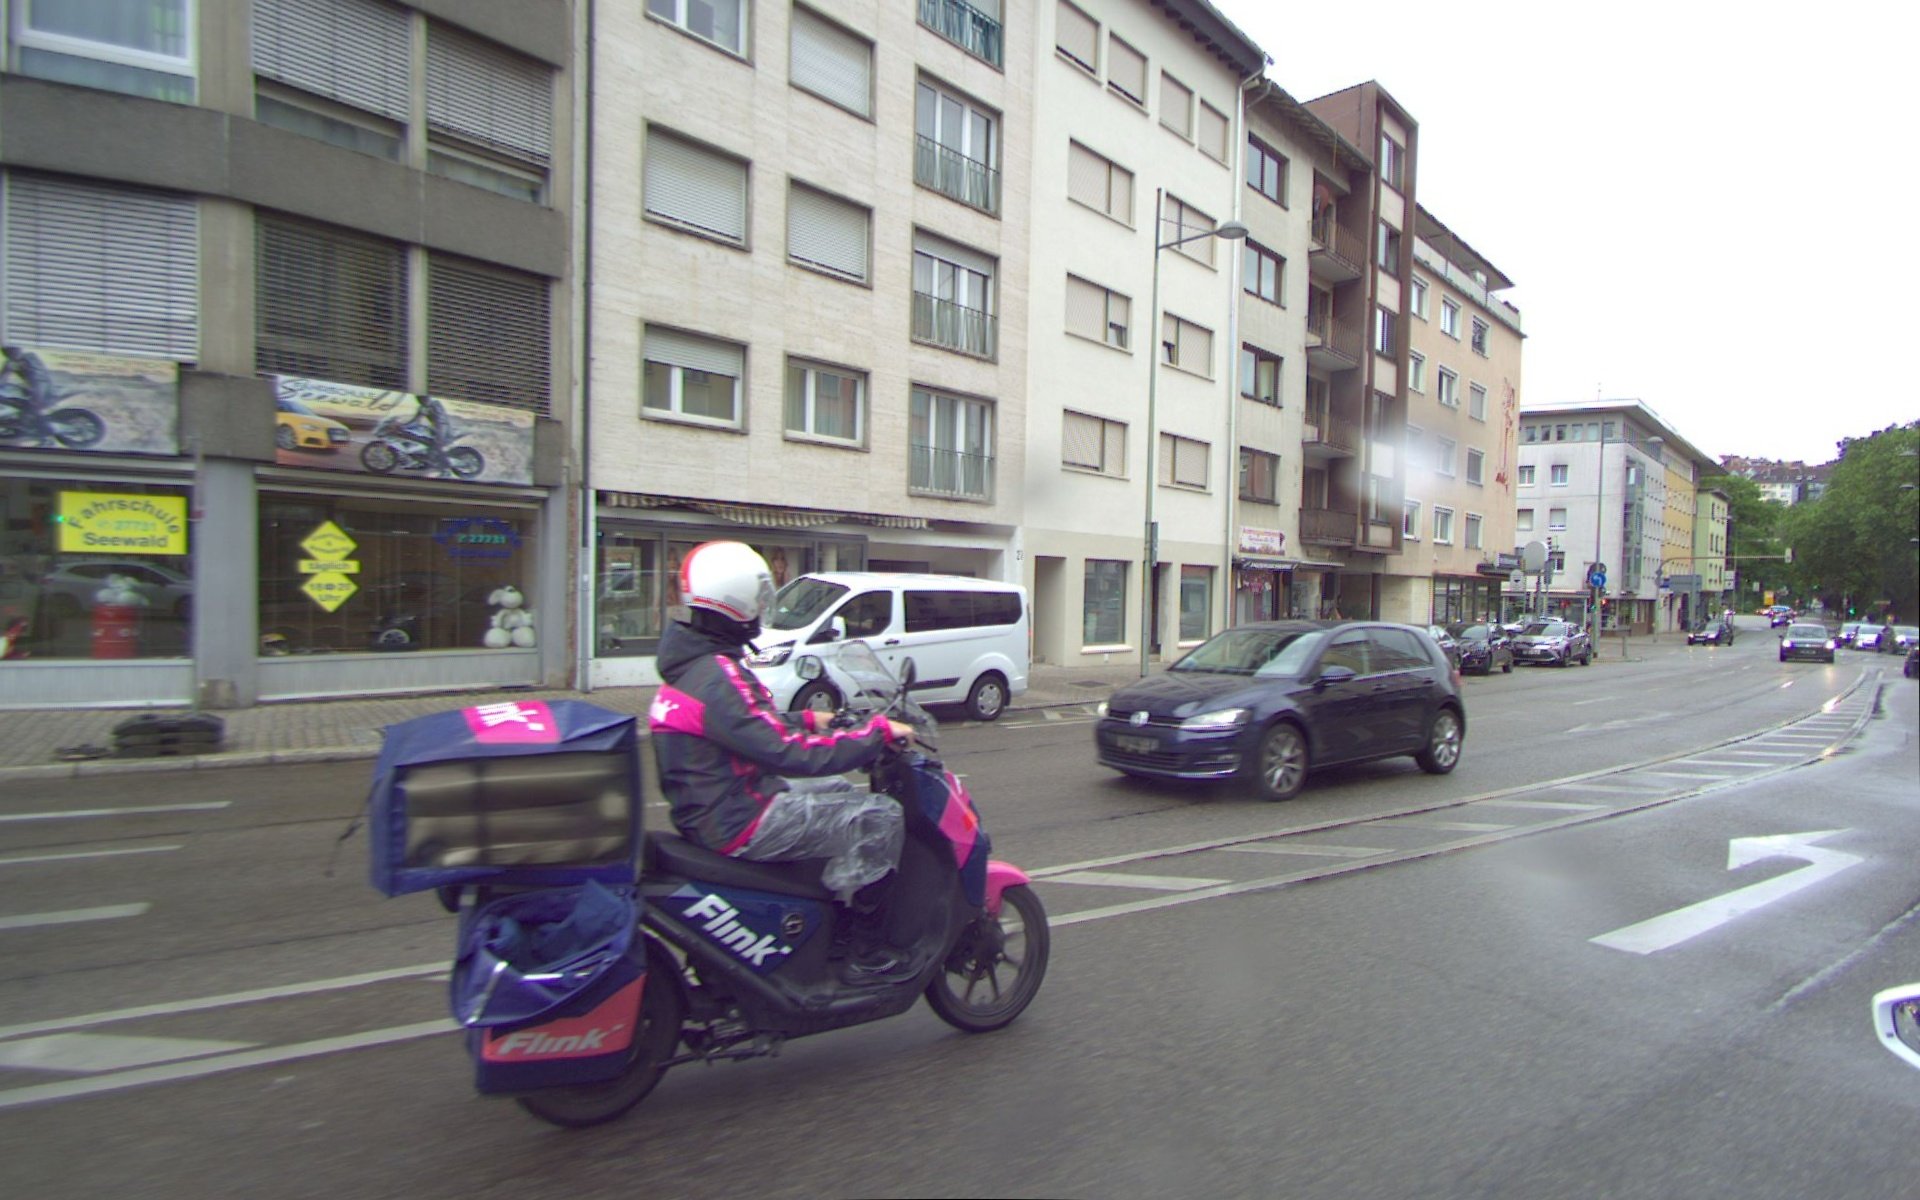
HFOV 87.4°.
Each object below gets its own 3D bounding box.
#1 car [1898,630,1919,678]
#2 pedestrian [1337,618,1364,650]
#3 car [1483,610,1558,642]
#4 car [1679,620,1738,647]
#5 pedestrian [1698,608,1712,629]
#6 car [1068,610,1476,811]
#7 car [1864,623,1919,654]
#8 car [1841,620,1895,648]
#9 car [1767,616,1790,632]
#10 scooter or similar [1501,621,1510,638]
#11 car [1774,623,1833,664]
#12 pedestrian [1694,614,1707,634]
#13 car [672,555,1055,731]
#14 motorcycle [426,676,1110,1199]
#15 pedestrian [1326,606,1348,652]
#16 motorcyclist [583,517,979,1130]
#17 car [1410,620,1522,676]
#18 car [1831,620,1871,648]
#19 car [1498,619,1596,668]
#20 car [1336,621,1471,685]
[{"bbox_3d":[32.226,1.816,32.905,1.971,1.406,4.476,5,3,41],"label":"car"},{"bbox_3d":[14.453,1.258,37.168,0.586,1.163,0.671,2,1,-19],"label":"pedestrian"},{"bbox_3d":[35.912,1.643,64.485,3.922,1.729,1.686,4,3,22],"label":"car"},{"bbox_3d":[48.810,2.212,65.490,3.953,1.648,1.684,2,0,-30],"label":"car"},{"bbox_3d":[67.288,1.647,90.725,0.856,1.812,0.870,6,4,42],"label":"pedestrian"},{"bbox_3d":[3.017,0.874,9.364,3.964,1.492,1.671,1,-2,-38],"label":"car"},{"bbox_3d":[51.696,2.086,55.379,1.829,1.574,4.218,2,0,30],"label":"car"},{"bbox_3d":[54.350,2.026,60.188,1.909,1.547,4.120,2,0,36],"label":"car"},{"bbox_3d":[102.600,2.996,125.965,1.971,1.885,3.979,5,3,41],"label":"car"},{"bbox_3d":[37.626,2.010,69.328,0.358,1.110,1.135,1,3,19],"label":"scooter or similar"},{"bbox_3d":[37.302,1.879,44.489,1.839,1.669,4.236,1,-1,38],"label":"car"},{"bbox_3d":[61.470,2.014,83.429,0.679,1.602,0.648,6,4,44],"label":"pedestrian"},{"bbox_3d":[-1.245,0.591,14.471,5.085,2.041,2.101,3,2,-39],"label":"car"},{"bbox_3d":[-0.472,0.894,3.194,2.083,1.207,0.582,1,0,-38],"label":"motorcycle"},{"bbox_3d":[13.337,1.012,35.532,0.535,1.604,0.668,3,1,30],"label":"pedestrian"},{"bbox_3d":[-0.573,0.561,3.108,0.857,1.513,0.908,2,0,-37],"label":"motorcyclist"},{"bbox_3d":[15.280,1.400,30.216,1.970,1.497,4.496,1,0,41],"label":"car"},{"bbox_3d":[57.341,2.180,64.696,1.799,1.630,4.409,2,0,40],"label":"car"},{"bbox_3d":[20.866,1.513,35.651,4.601,1.575,1.888,2,-1,-45],"label":"car"},{"bbox_3d":[11.673,1.319,26.247,1.860,1.496,4.954,1,-1,41],"label":"car"}]
